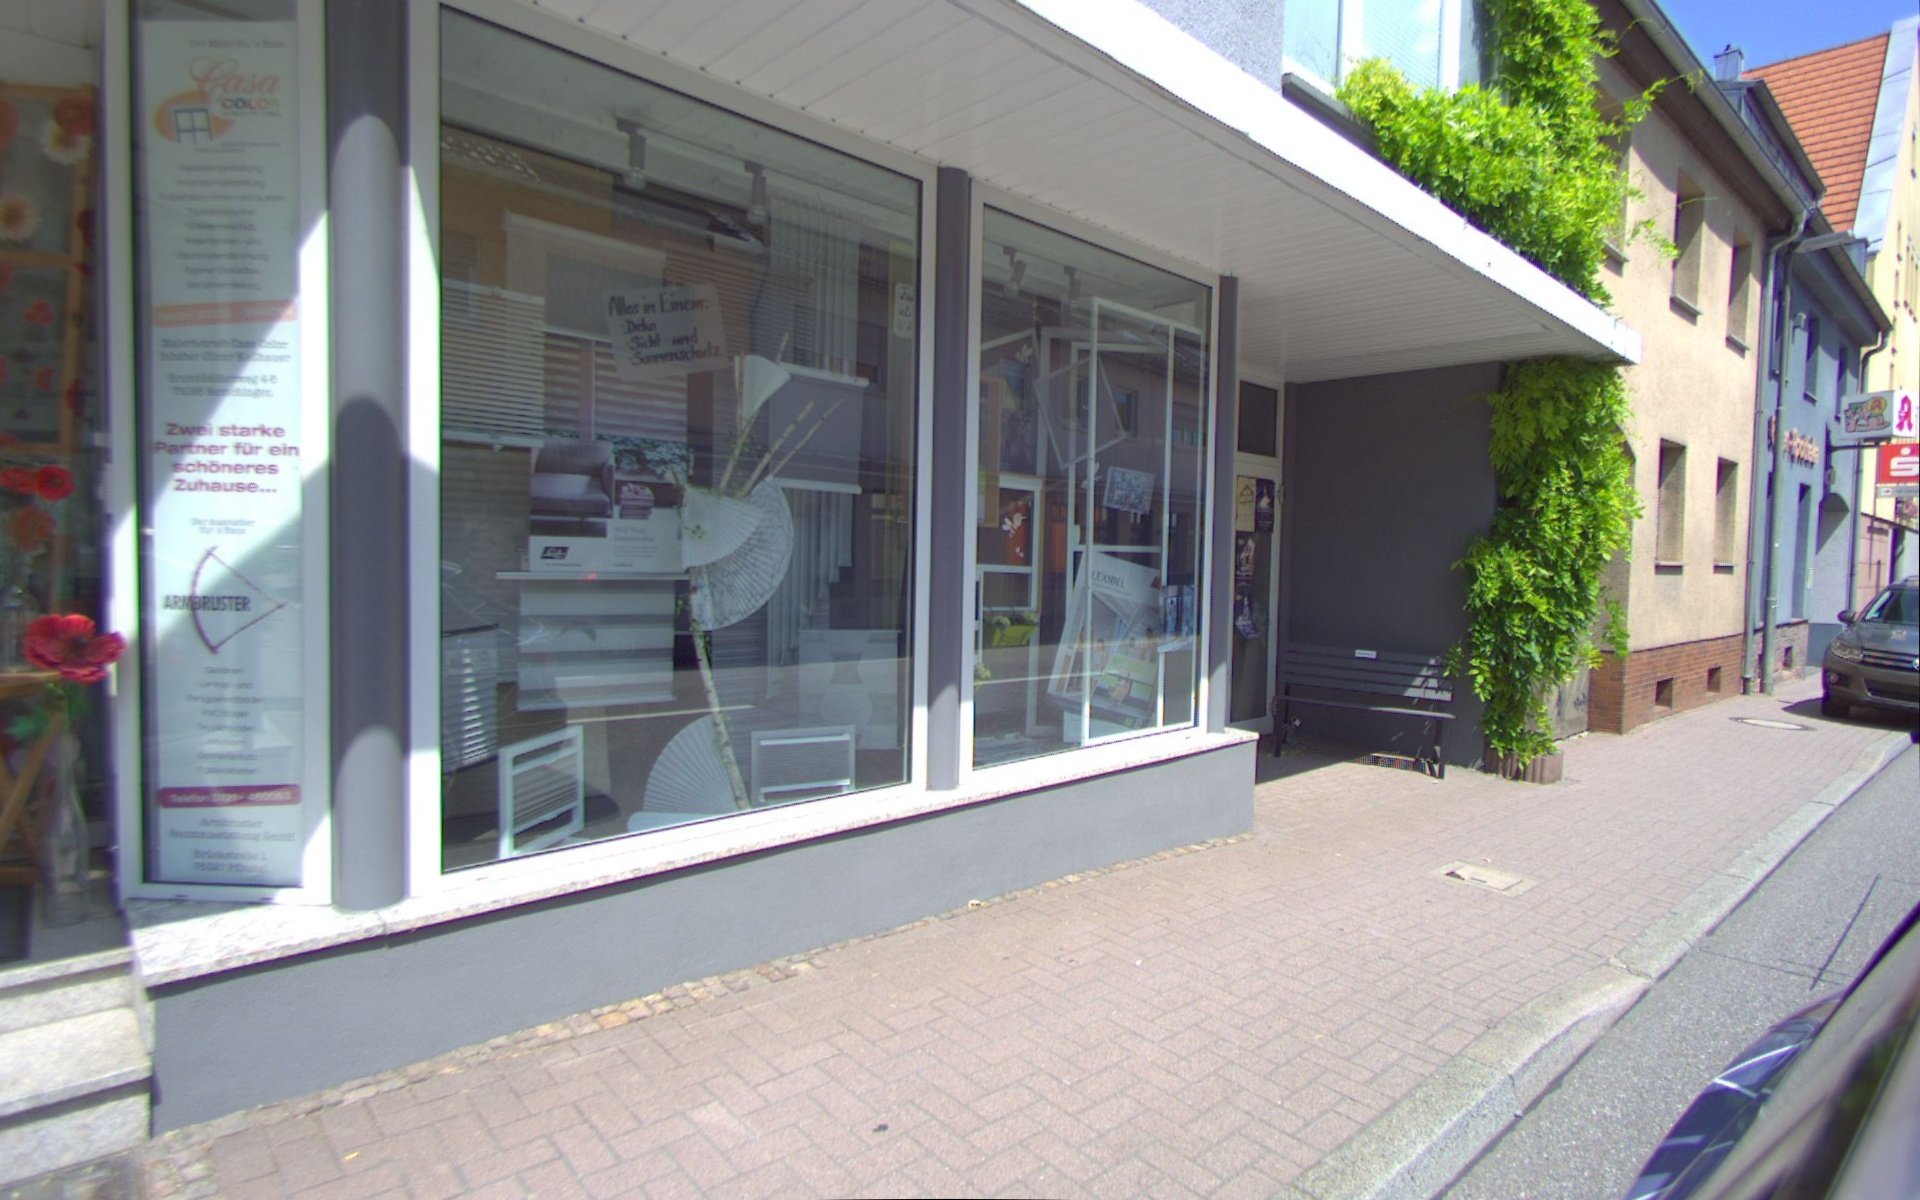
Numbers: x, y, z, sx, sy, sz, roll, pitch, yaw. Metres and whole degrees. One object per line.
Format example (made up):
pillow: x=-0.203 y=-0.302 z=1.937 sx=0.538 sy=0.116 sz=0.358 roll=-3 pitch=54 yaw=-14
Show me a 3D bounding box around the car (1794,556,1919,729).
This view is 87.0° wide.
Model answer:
car: x=11.478 y=0.449 z=11.660 sx=4.027 sy=1.729 sz=2.000 roll=-1 pitch=5 yaw=-39
